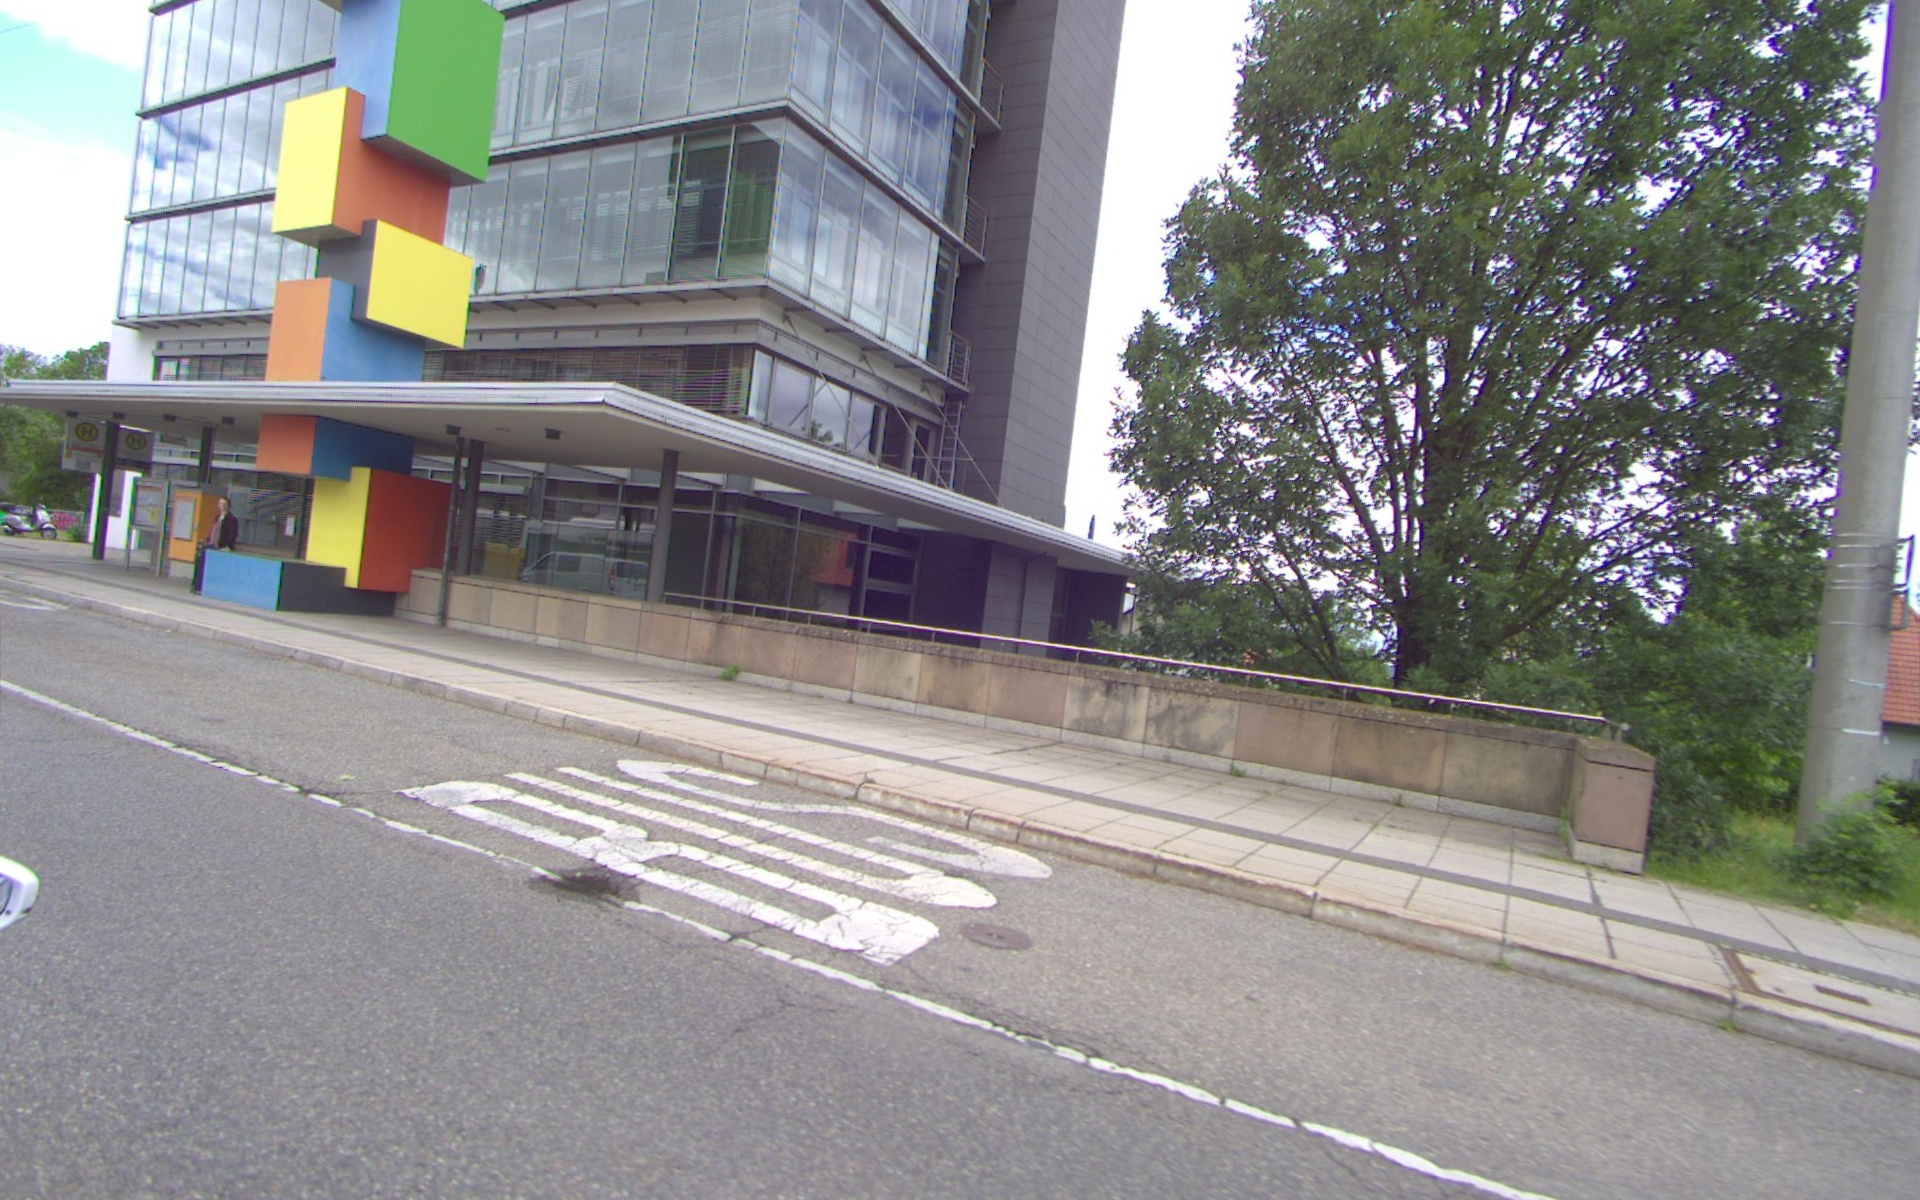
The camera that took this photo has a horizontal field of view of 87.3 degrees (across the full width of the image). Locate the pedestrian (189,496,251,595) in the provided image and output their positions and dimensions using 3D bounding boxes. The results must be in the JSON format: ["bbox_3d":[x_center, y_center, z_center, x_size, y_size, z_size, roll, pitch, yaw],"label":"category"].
[{"bbox_3d":[-13.464,-0.984,18.304,0.721,1.694,0.525,7,1,31],"label":"pedestrian"}]

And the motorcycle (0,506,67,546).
[{"bbox_3d":[-30.908,-2.458,33.388,1.749,1.083,0.633,7,0,-9],"label":"motorcycle"}]

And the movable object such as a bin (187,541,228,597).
[{"bbox_3d":[-13.197,-0.547,17.635,0.454,0.909,0.356,7,1,31],"label":"movable object such as a bin"}]
